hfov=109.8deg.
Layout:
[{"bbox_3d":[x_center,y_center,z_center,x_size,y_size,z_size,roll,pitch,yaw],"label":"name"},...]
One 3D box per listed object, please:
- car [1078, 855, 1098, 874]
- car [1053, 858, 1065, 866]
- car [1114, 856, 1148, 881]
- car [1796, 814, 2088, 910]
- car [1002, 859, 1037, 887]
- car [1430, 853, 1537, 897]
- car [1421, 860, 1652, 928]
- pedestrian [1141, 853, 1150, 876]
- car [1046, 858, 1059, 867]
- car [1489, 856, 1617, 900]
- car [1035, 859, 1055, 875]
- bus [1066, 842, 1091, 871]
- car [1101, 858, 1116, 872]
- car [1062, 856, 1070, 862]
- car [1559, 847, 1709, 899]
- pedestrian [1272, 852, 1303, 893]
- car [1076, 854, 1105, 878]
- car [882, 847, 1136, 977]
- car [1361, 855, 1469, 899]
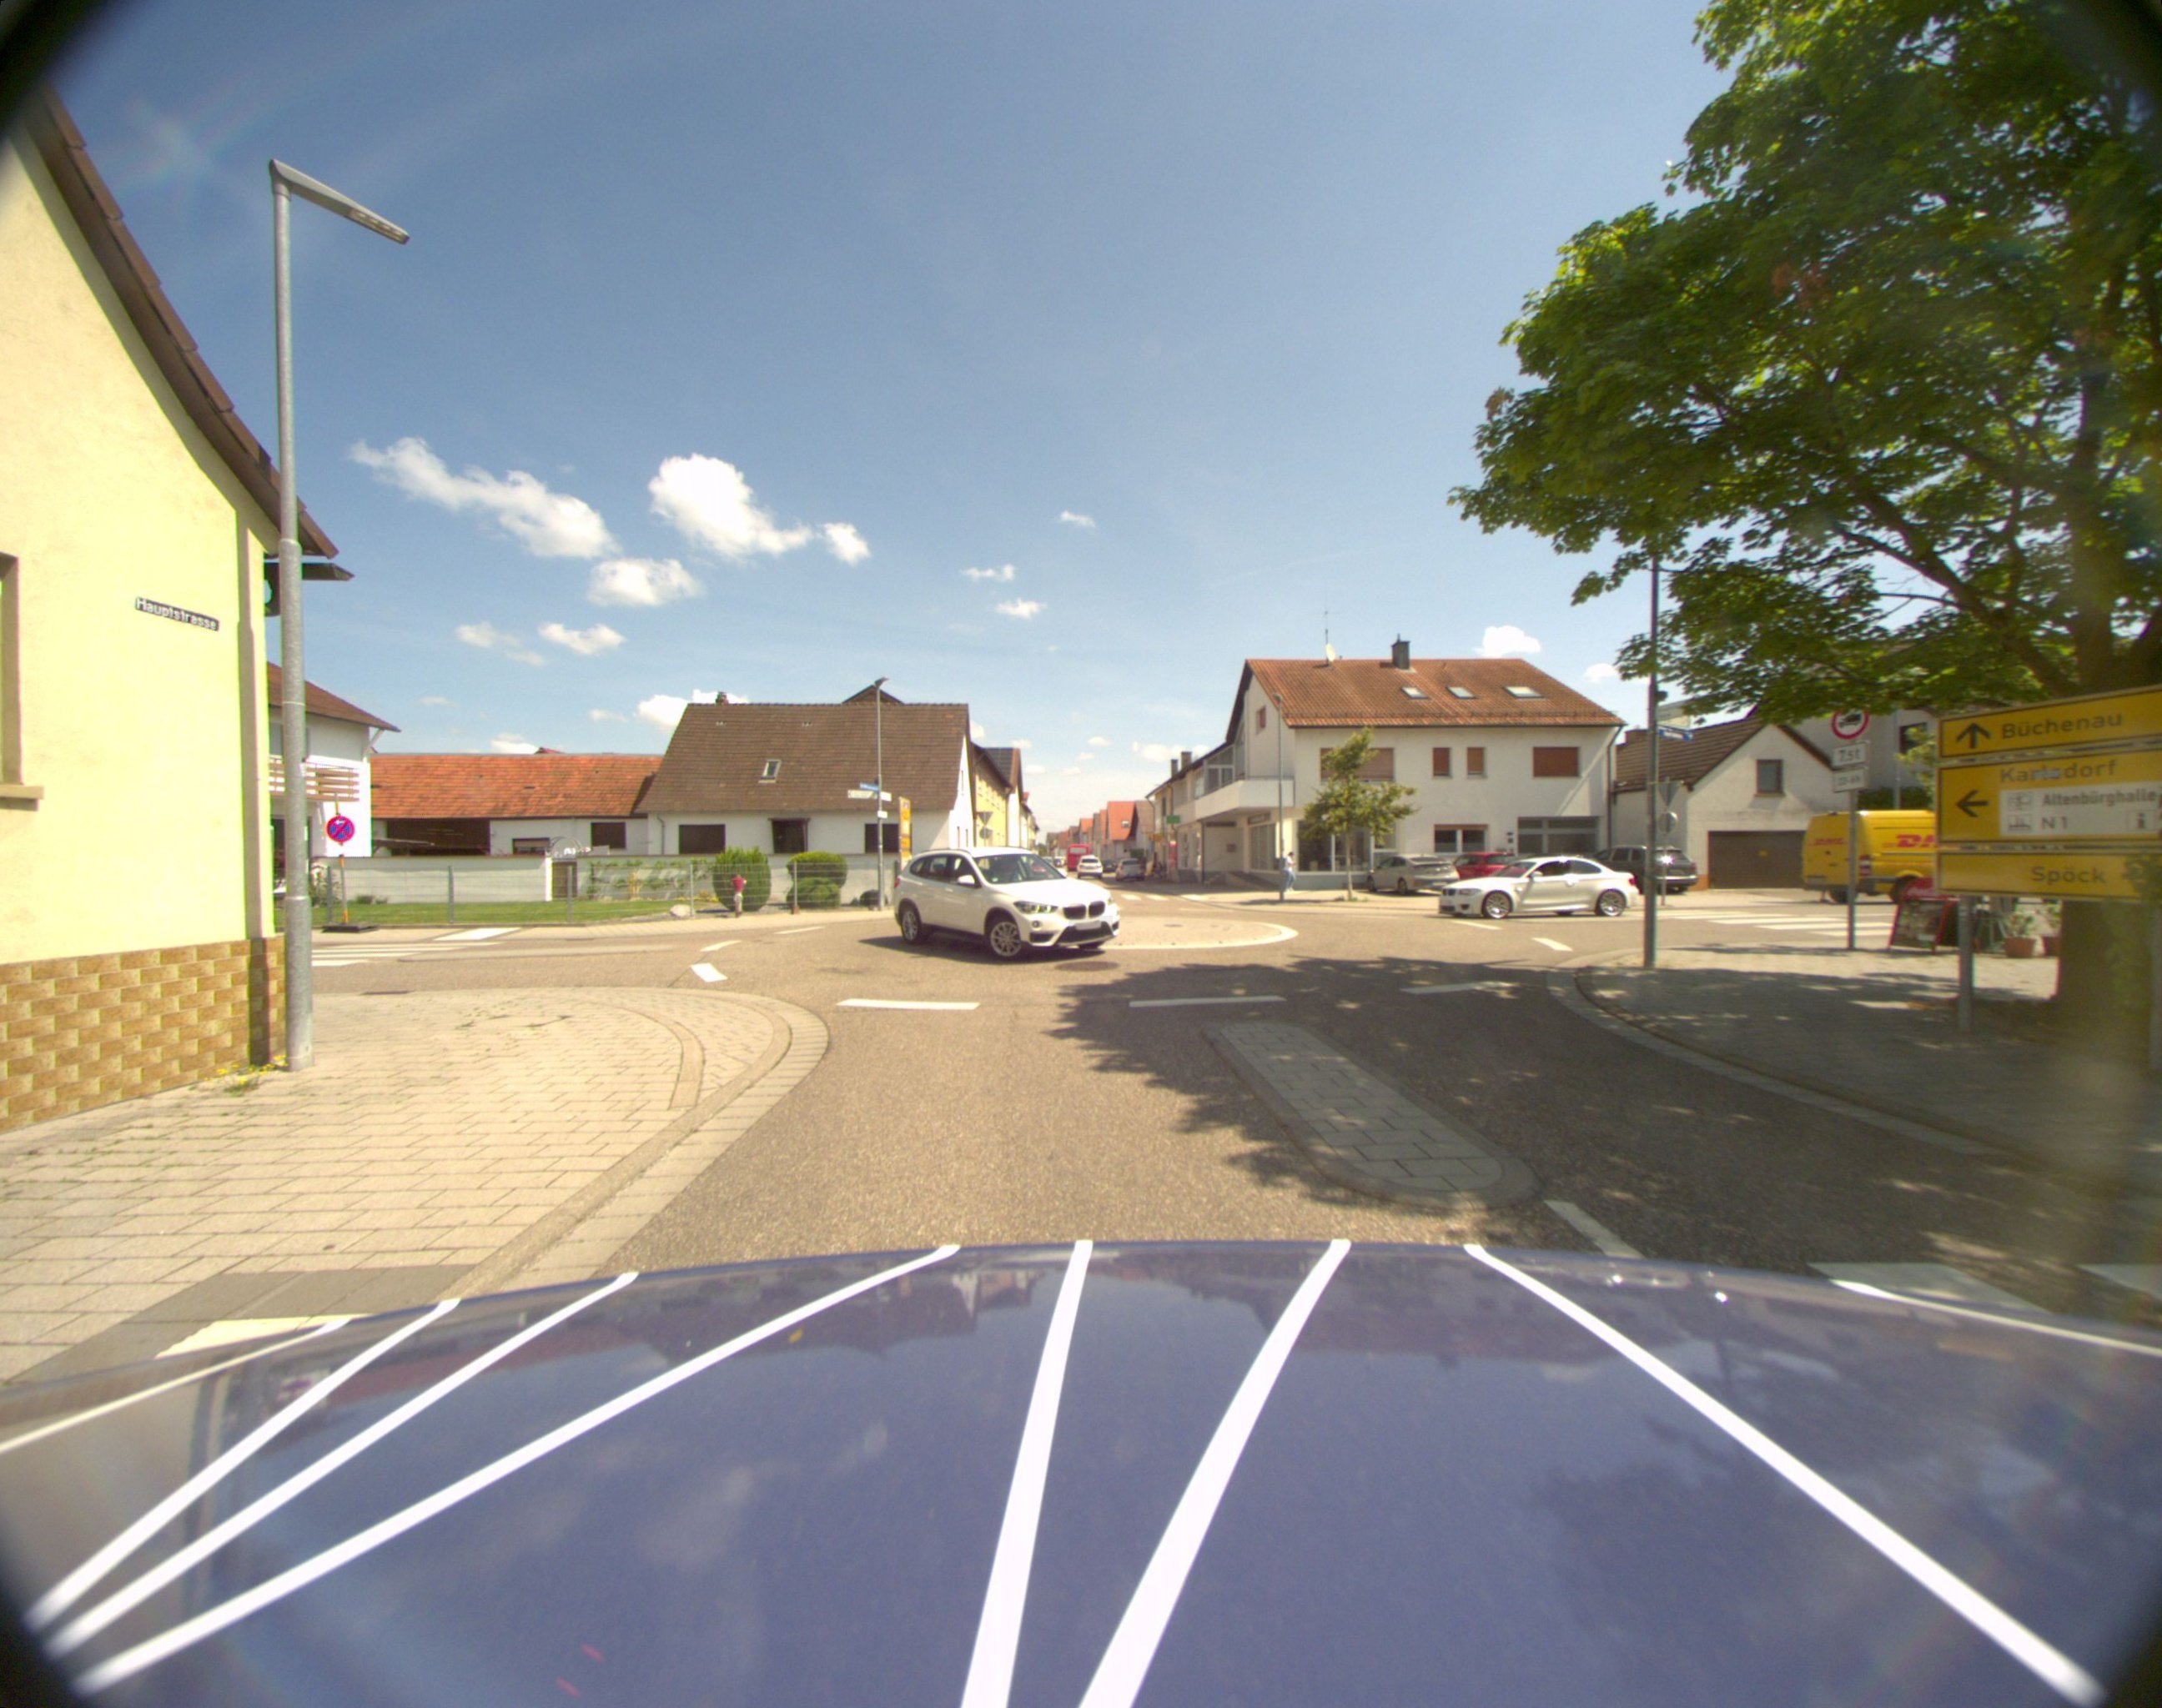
[{"bbox_3d":[0.678,1.016,75.054,1.776,1.810,4.441,1,0,-2],"label":"car"},{"bbox_3d":[-3.652,1.327,127.078,1.765,1.420,4.187,0,0,-4],"label":"car"},{"bbox_3d":[3.412,0.965,52.365,1.749,1.507,3.999,-4,0,-3],"label":"car"},{"bbox_3d":[24.190,0.228,21.557,5.678,2.557,2.113,0,0,3],"label":"car"},{"bbox_3d":[-3.356,1.024,42.015,1.690,1.454,3.629,2,0,-2],"label":"car"},{"bbox_3d":[14.744,0.724,28.119,1.752,1.468,3.963,0,1,-2],"label":"car"},{"bbox_3d":[10.656,0.920,18.000,4.332,1.440,1.881,-1,-2,-2],"label":"car"},{"bbox_3d":[5.088,0.834,60.133,0.579,1.780,0.693,-2,1,-1],"label":"pedestrian"},{"bbox_3d":[-4.183,1.237,111.415,1.765,1.420,4.188,0,0,-2],"label":"car"},{"bbox_3d":[17.194,0.806,27.974,1.835,1.442,4.477,0,1,-2],"label":"car"},{"bbox_3d":[-3.308,1.162,70.665,1.765,1.420,4.188,0,0,-2],"label":"car"},{"bbox_3d":[-0.395,0.320,91.023,2.634,3.213,12.020,2,0,-2],"label":"bus"},{"bbox_3d":[2.928,1.158,81.061,1.458,1.362,3.384,-3,0,0],"label":"car"},{"bbox_3d":[-3.612,1.138,179.225,1.765,1.420,3.851,0,0,-4],"label":"car"},{"bbox_3d":[20.246,0.626,28.128,1.986,1.729,4.748,0,1,-2],"label":"car"},{"bbox_3d":[8.233,0.735,30.364,0.758,1.574,0.955,-2,1,-17],"label":"pedestrian"},{"bbox_3d":[0.647,0.894,56.284,1.871,1.700,4.541,0,0,-3],"label":"car"},{"bbox_3d":[-1.322,0.759,12.020,1.849,1.636,4.362,-2,1,-39],"label":"car"},{"bbox_3d":[12.070,0.783,27.825,1.835,1.442,4.477,0,1,-2],"label":"car"}]
